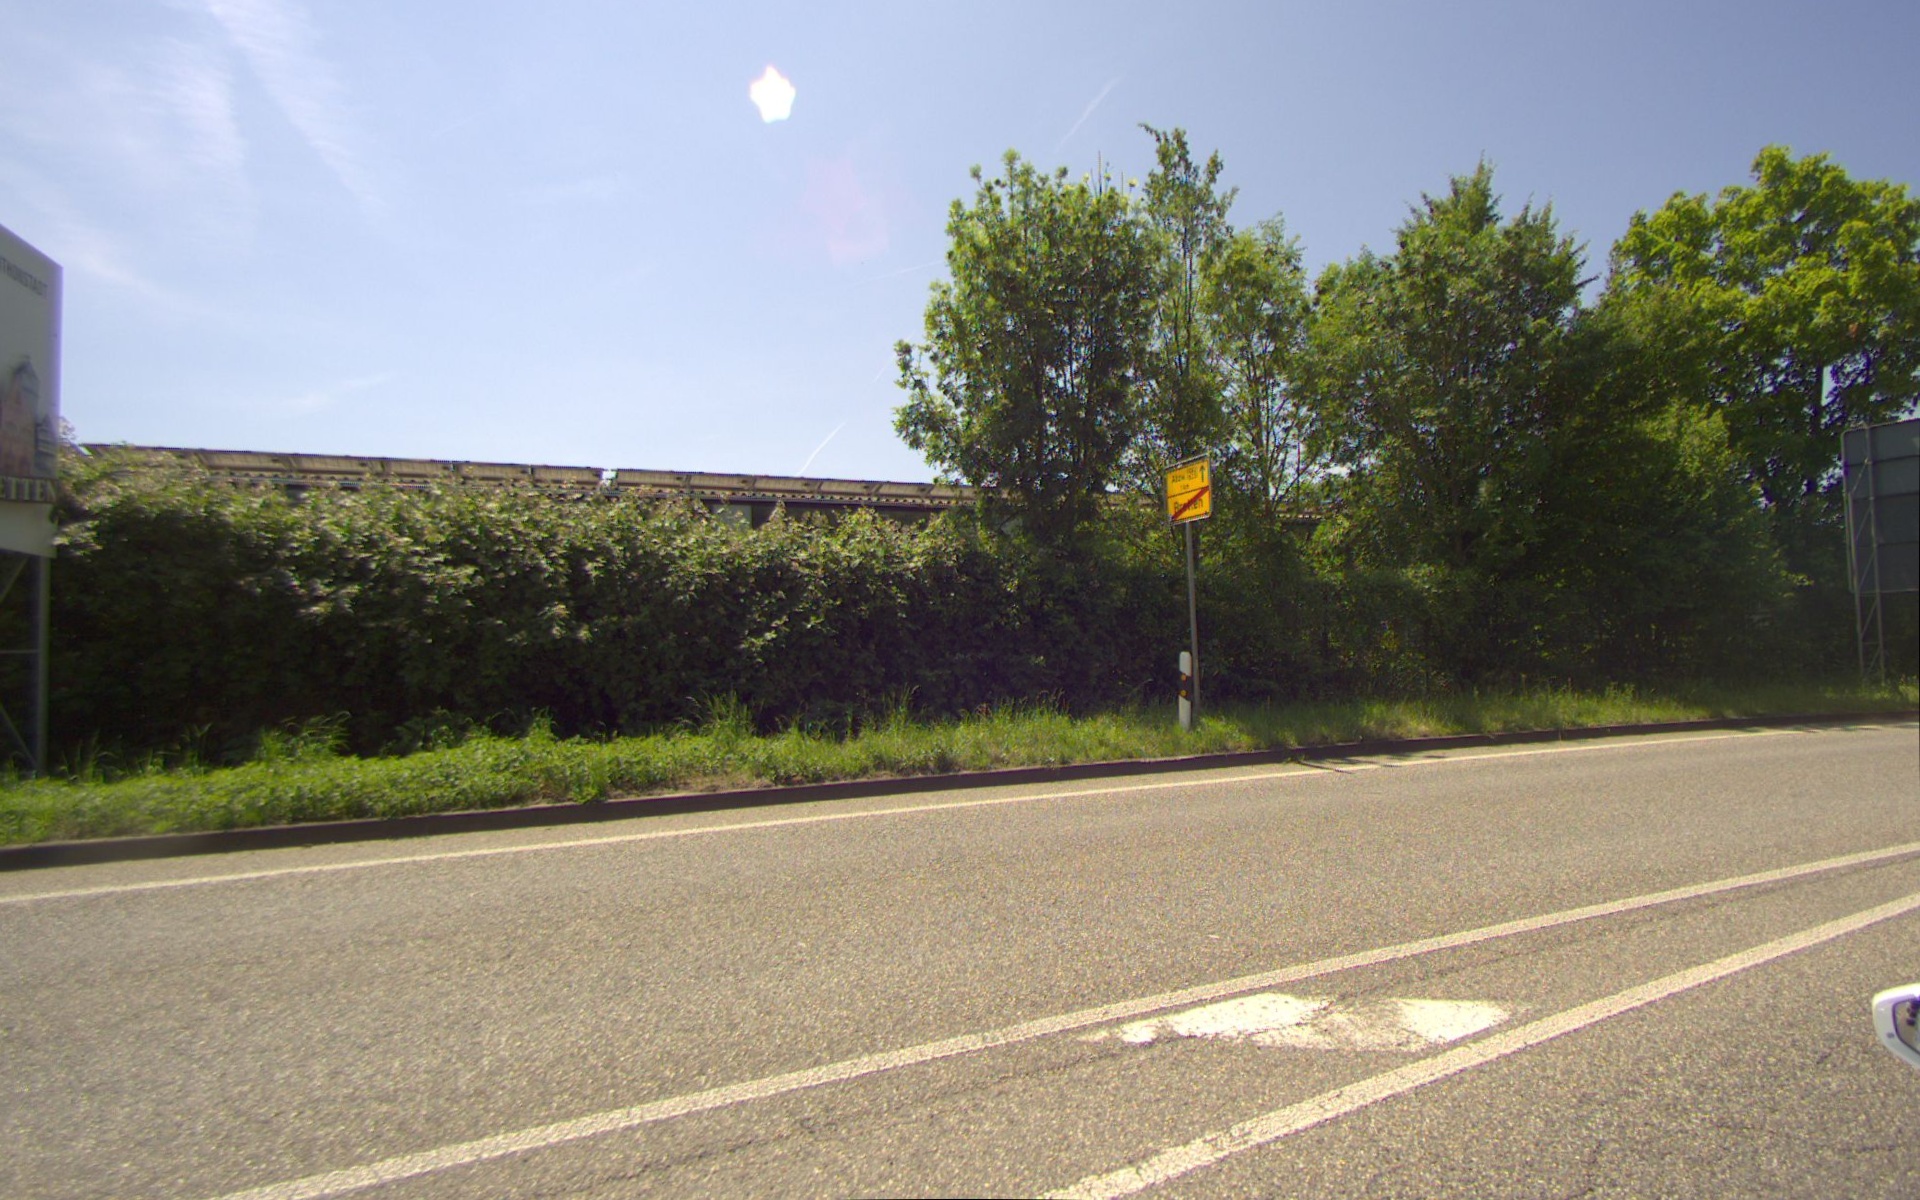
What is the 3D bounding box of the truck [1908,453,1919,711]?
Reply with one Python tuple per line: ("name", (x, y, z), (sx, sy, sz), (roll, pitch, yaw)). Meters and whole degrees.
("truck", (17.874, -0.207, 15.035), (7.765, 3.729, 2.572), (1, 0, -24))
